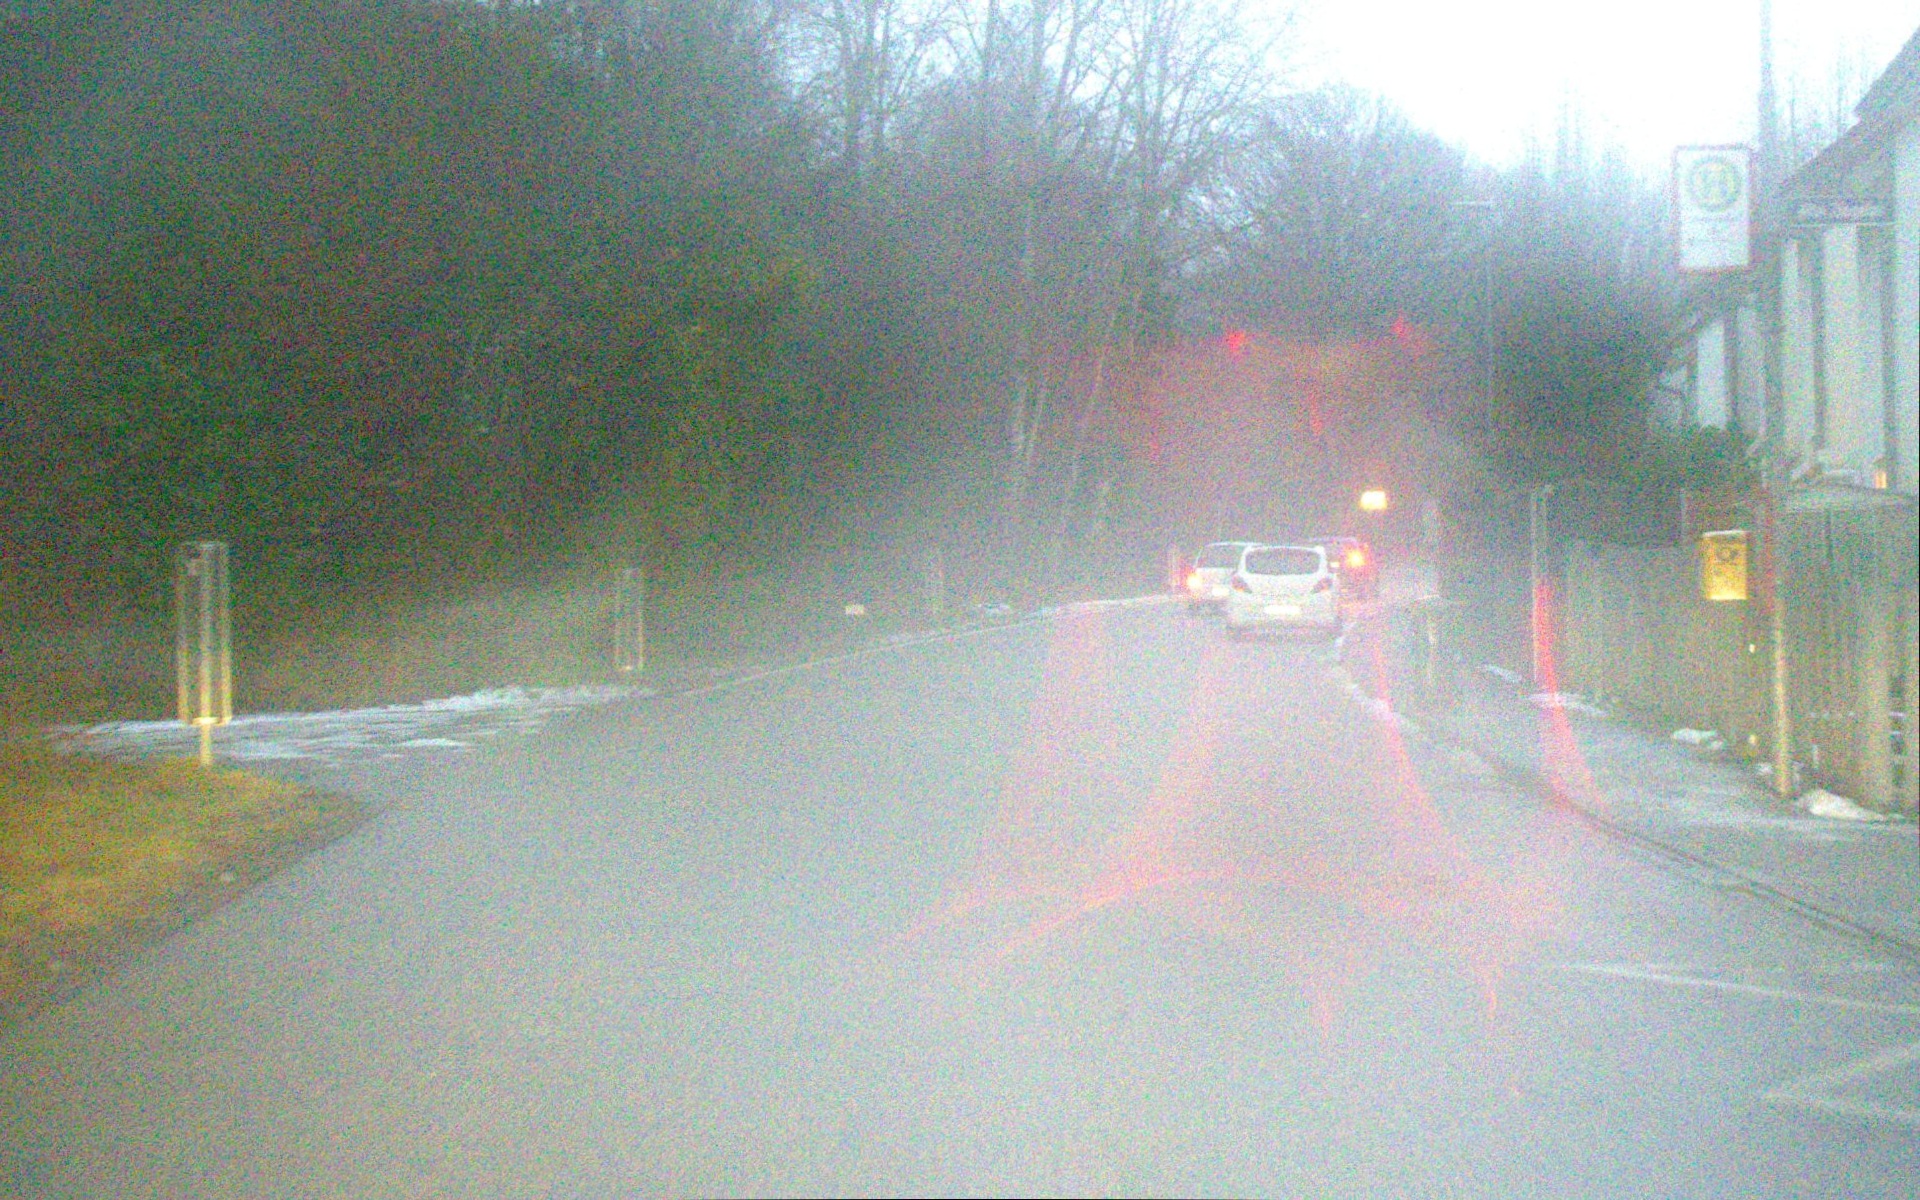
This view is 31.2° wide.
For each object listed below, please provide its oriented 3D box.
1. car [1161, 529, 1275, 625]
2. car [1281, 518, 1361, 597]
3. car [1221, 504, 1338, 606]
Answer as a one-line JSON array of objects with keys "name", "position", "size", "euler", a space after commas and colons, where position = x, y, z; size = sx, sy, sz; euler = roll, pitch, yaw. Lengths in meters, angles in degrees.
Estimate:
[{"name": "car", "position": [5.100, -0.487, 67.509], "size": [1.933, 1.775, 3.999], "euler": [-1, 1, 8]}, {"name": "car", "position": [8.571, -1.026, 81.369], "size": [1.690, 1.768, 3.859], "euler": [-1, 1, 9]}, {"name": "car", "position": [4.984, -0.700, 53.247], "size": [1.704, 1.501, 4.024], "euler": [1, 1, 7]}]
